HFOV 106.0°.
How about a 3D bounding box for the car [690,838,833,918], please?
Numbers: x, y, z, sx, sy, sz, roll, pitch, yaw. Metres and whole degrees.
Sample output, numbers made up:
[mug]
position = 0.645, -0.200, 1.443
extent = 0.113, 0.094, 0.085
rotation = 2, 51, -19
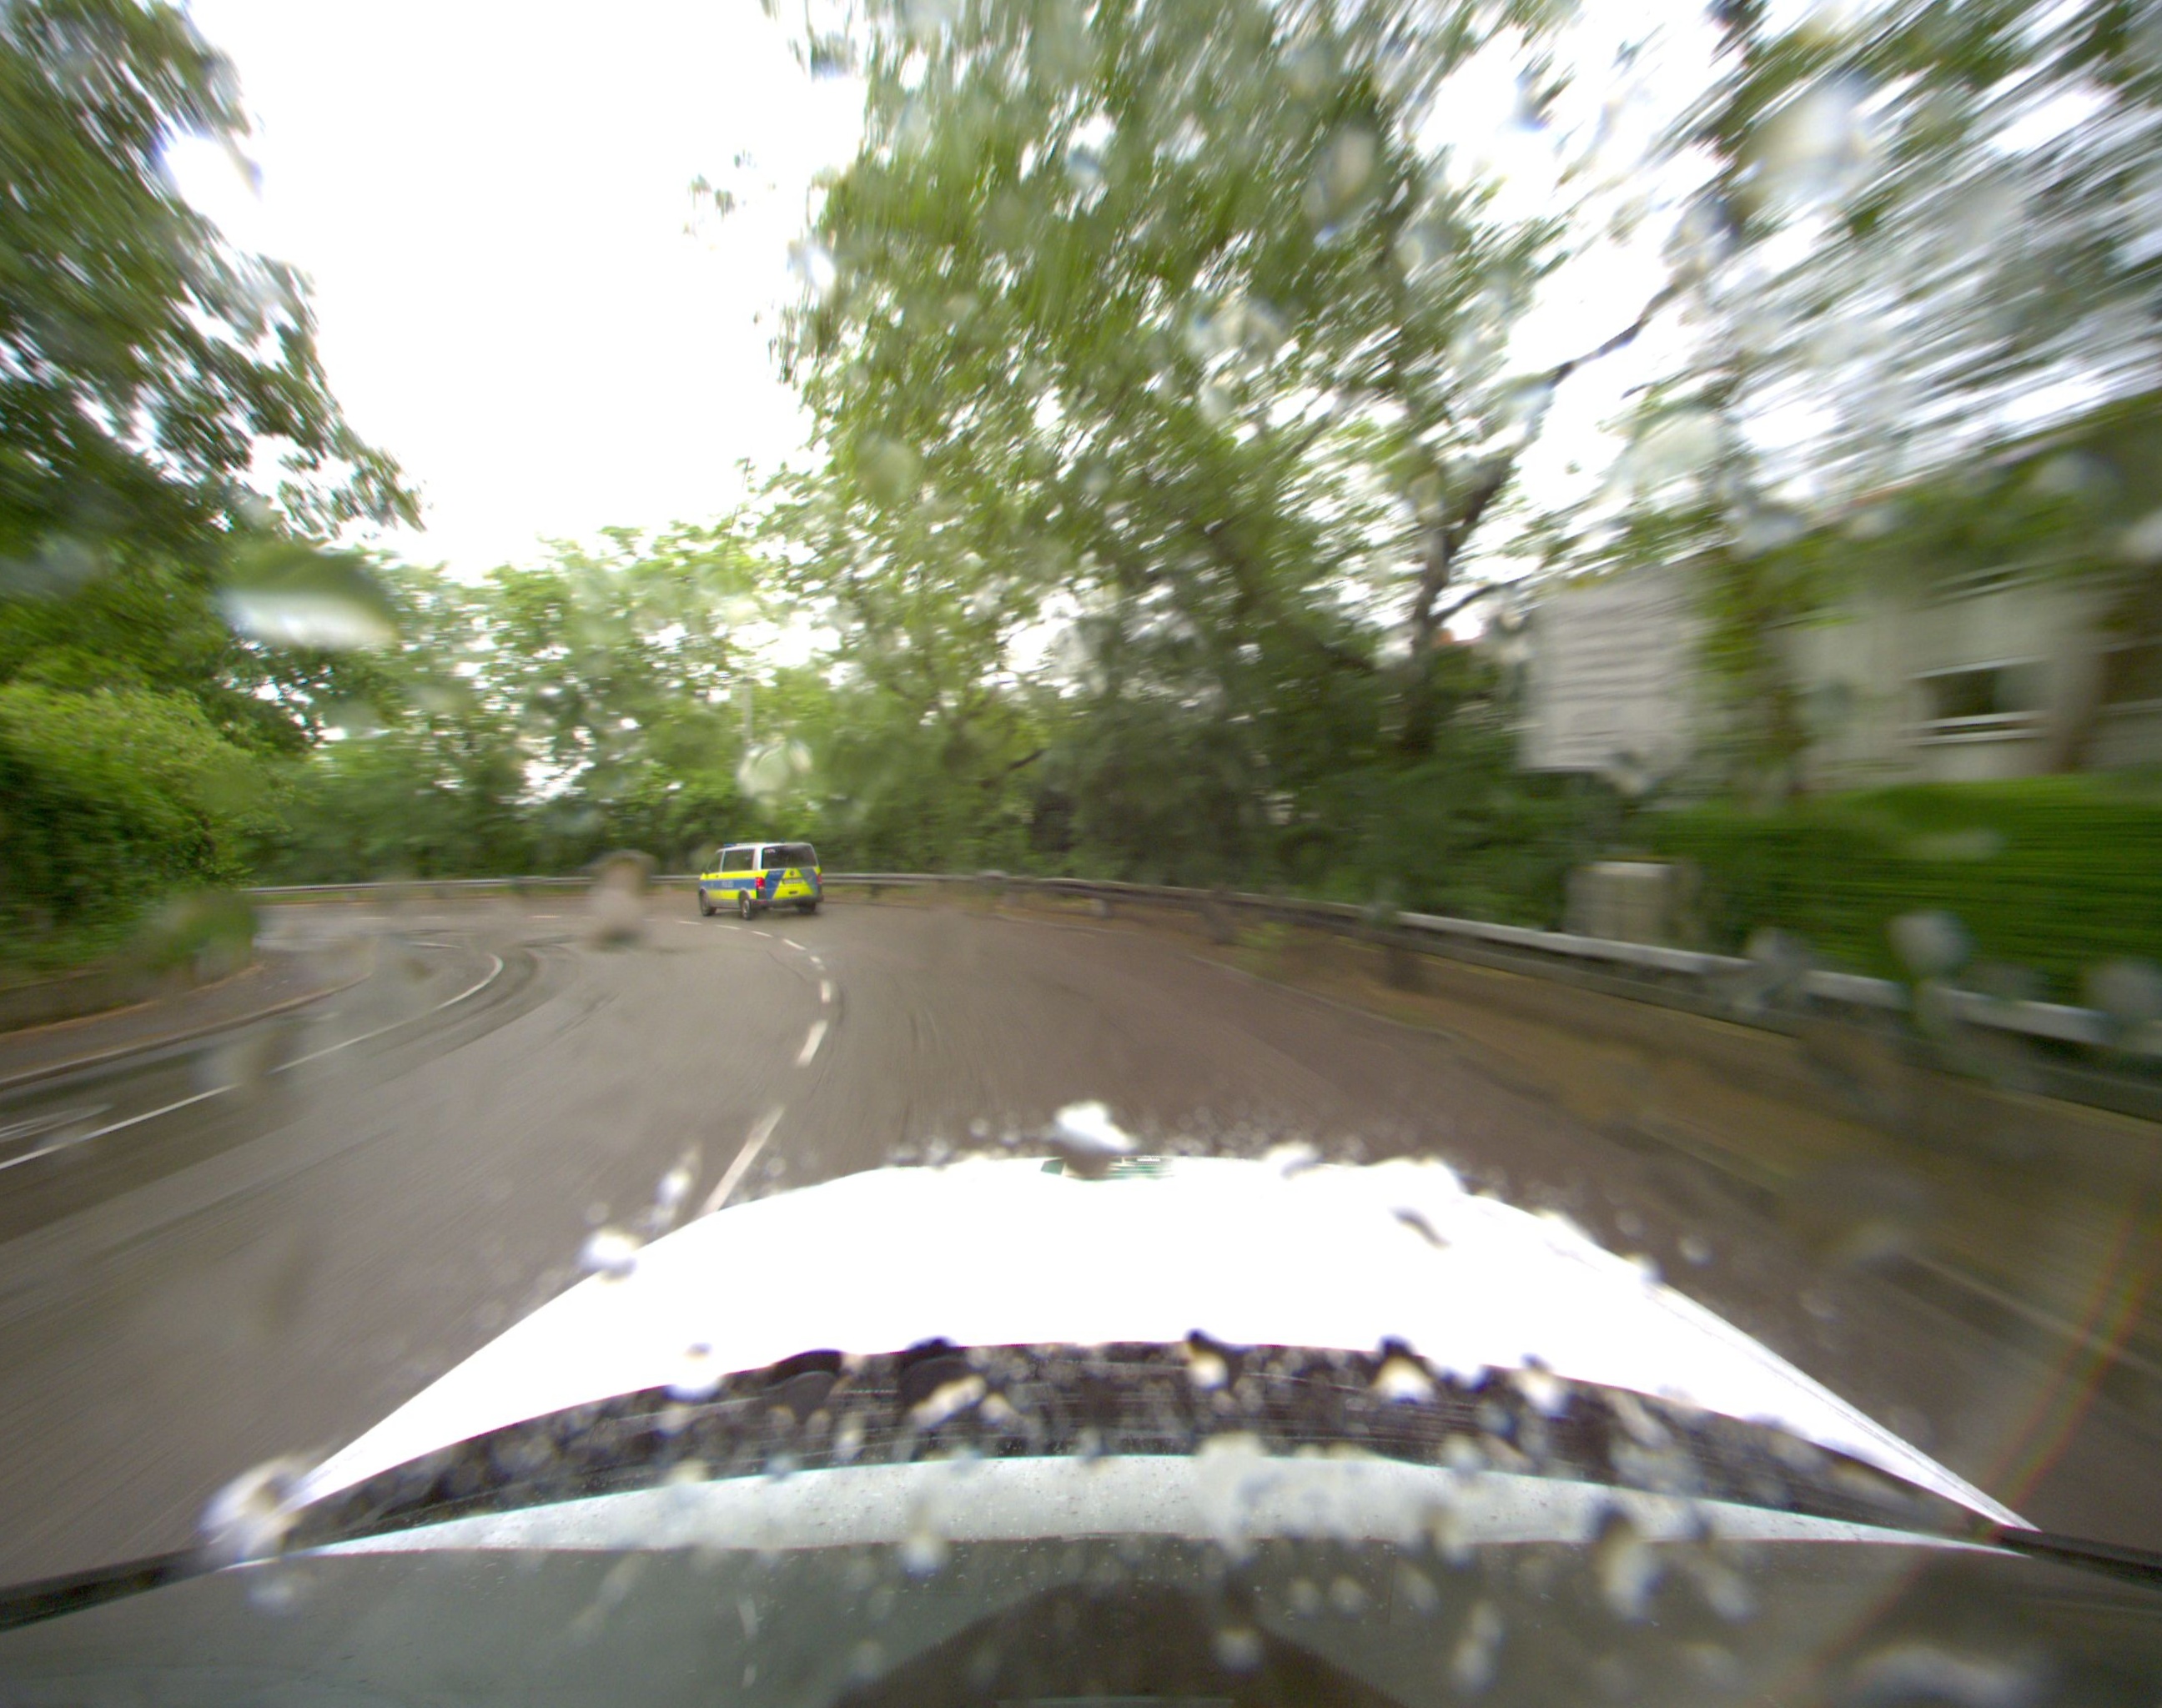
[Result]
[car]
position = -8.961, 0.653, 22.637
extent = 2.012, 1.893, 4.513
rotation = -5, 1, -44
